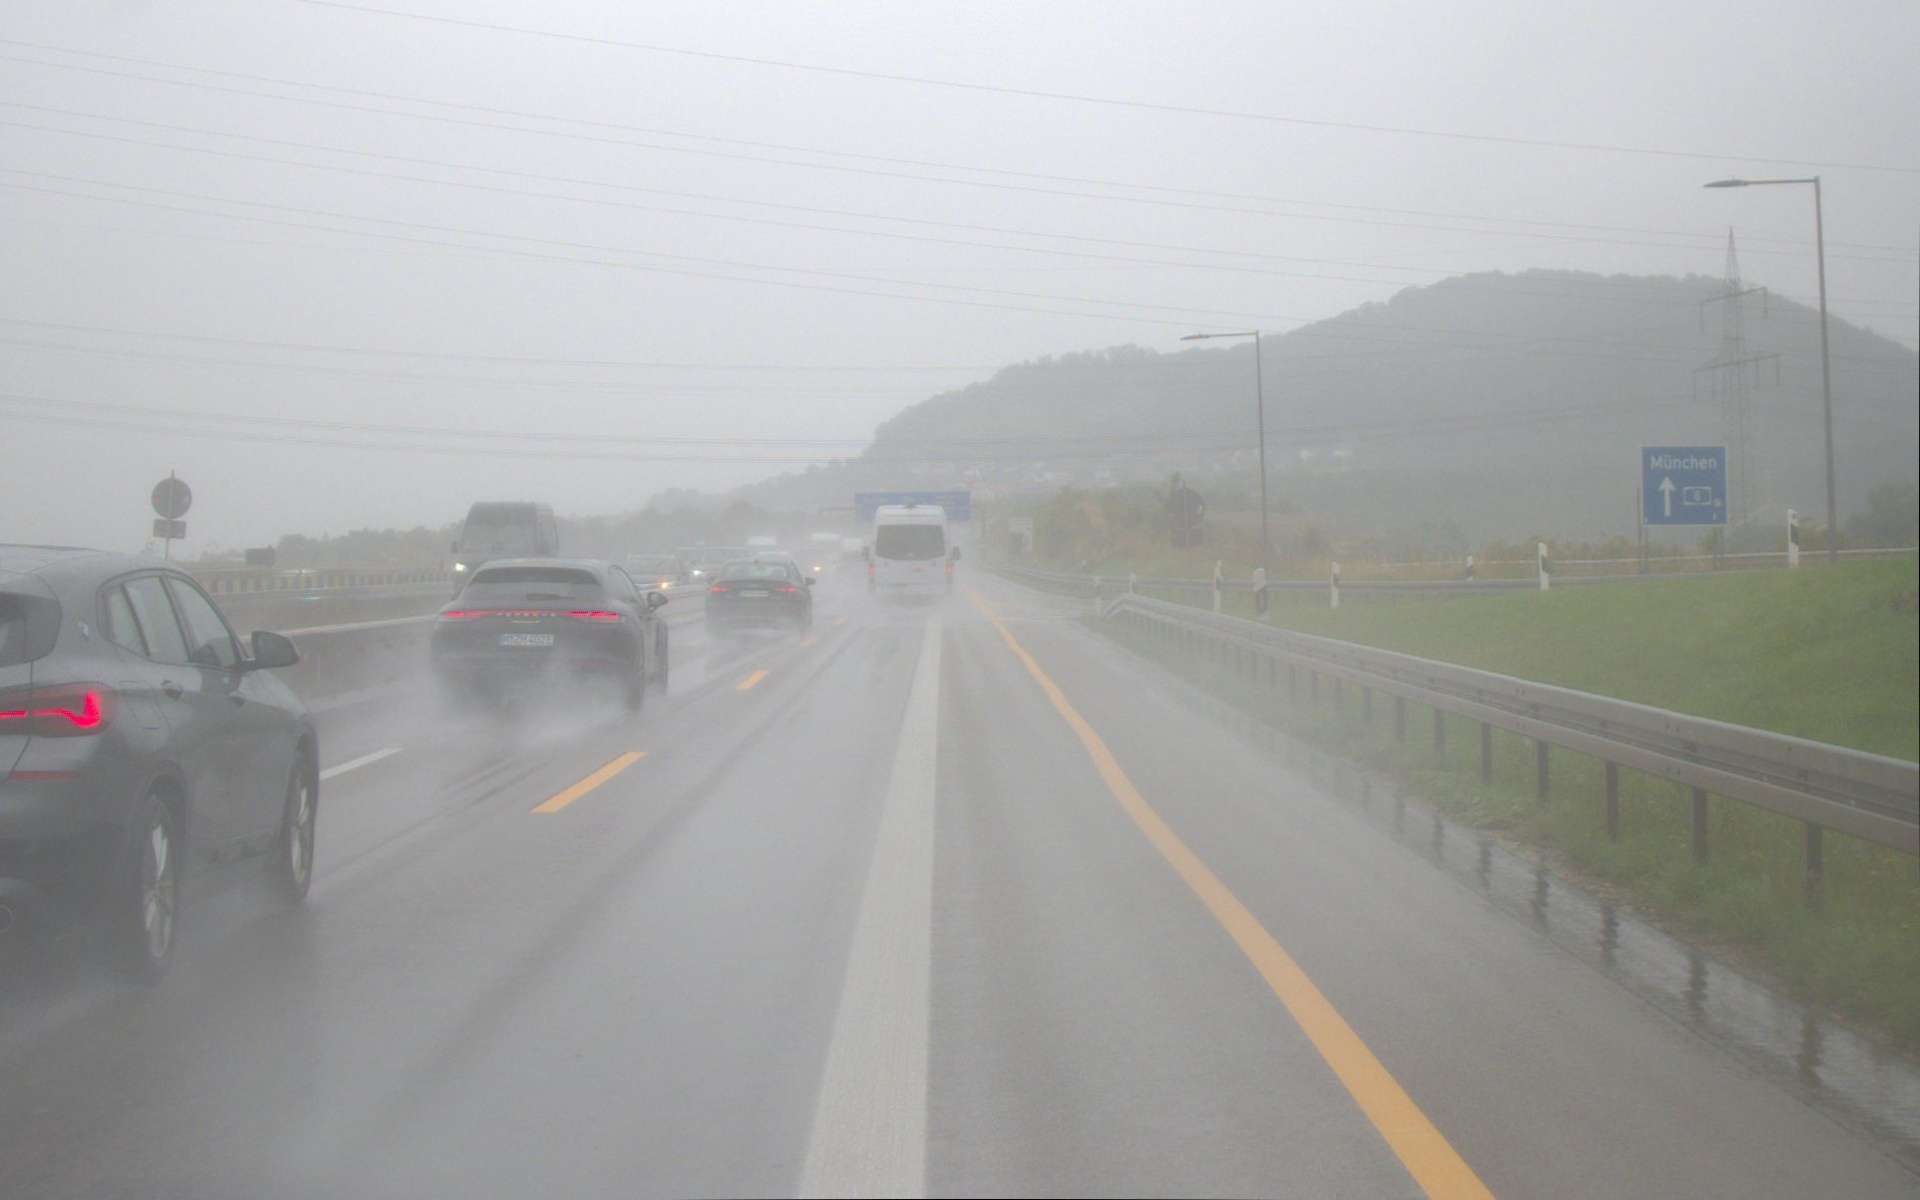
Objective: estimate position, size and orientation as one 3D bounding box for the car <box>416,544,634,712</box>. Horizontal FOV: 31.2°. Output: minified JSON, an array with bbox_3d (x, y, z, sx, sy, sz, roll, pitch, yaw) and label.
[{"bbox_3d":[-4.107,0.272,32.992,1.844,1.486,4.262,1,-1,-4],"label":"car"}]

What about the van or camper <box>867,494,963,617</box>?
[{"bbox_3d":[-1.082,-1.011,80.817,1.996,2.768,4.050,1,-1,-4],"label":"van or camper"}]

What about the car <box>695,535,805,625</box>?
[{"bbox_3d":[-3.745,-0.381,61.507,1.844,1.486,4.262,-2,1,-3],"label":"car"}]

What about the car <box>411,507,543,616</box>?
[{"bbox_3d":[-11.587,-0.926,82.915,2.070,2.509,6.175,-1,1,2],"label":"car"}]

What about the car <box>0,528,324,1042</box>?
[{"bbox_3d":[-3.546,0.589,13.036,1.700,1.592,4.846,1,-1,-4],"label":"car"}]
